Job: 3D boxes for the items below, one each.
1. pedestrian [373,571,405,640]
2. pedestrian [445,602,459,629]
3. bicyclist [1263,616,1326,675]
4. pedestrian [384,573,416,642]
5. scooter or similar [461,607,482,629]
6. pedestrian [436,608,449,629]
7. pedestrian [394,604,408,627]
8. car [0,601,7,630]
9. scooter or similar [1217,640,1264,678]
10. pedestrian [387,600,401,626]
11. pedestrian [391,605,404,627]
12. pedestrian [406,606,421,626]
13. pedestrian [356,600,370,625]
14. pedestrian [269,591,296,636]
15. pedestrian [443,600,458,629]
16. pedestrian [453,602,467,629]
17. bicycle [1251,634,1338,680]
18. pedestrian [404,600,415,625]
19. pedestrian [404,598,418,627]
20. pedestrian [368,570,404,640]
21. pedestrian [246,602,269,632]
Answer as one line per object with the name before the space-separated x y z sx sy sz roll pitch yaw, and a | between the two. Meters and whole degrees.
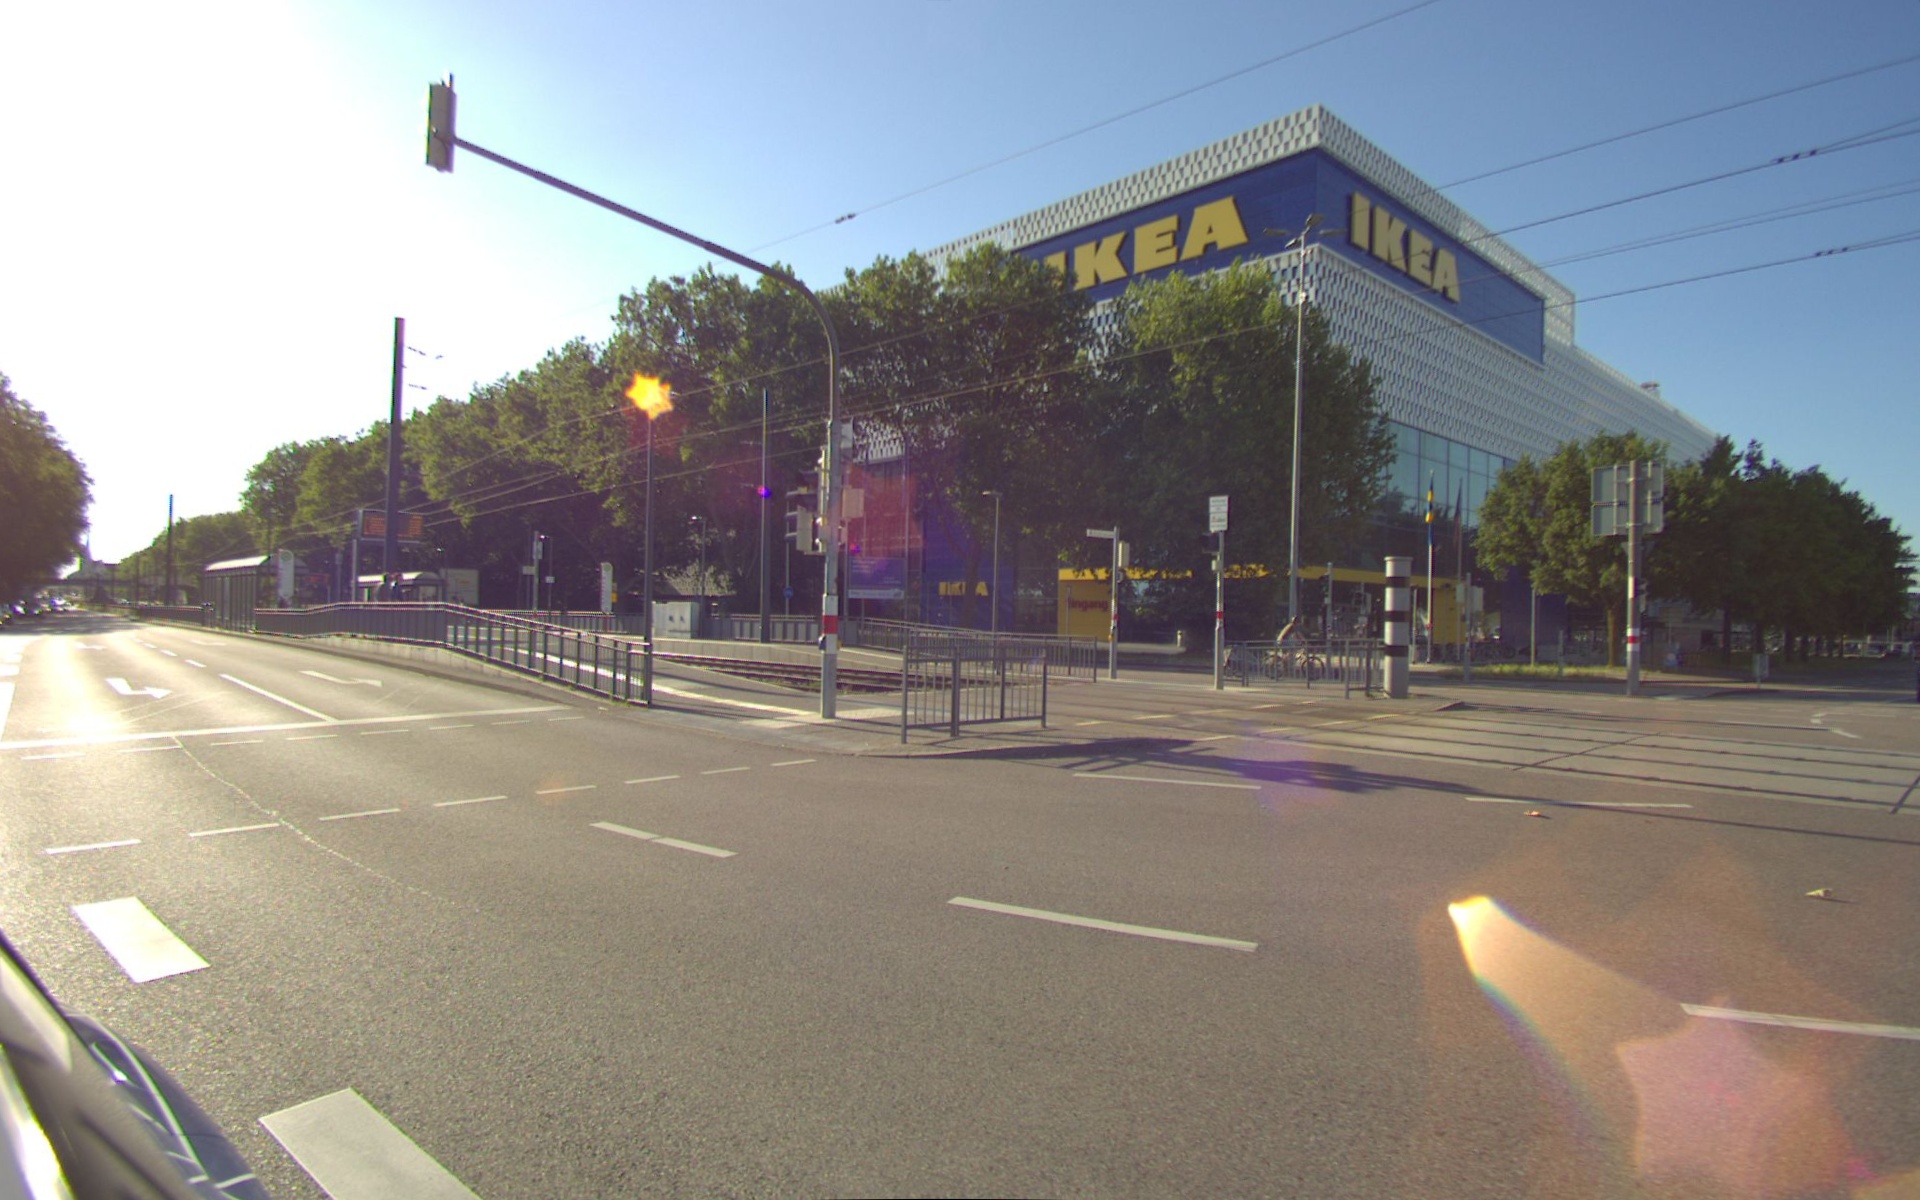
pedestrian | -14.508 0.136 25.704 0.527 1.705 0.761 -2 1 -40
pedestrian | -30.481 0.919 60.758 0.643 1.632 0.636 0 0 -39
bicyclist | 9.687 1.315 29.308 1.463 1.629 0.824 2 -1 -7
pedestrian | -13.846 0.181 25.031 0.527 1.669 0.752 -1 1 -41
scooter or similar | -28.059 1.013 58.135 0.656 1.244 1.373 1 -1 -43
pedestrian | -31.545 1.114 61.667 0.594 1.233 0.618 0 0 -39
pedestrian | -37.480 1.039 67.865 0.576 1.503 0.663 0 -1 34
car | -49.255 0.796 50.831 1.844 1.441 3.836 -2 0 -41
scooter or similar | 8.056 1.692 29.083 1.050 1.023 0.790 2 -1 -7
pedestrian | -35.907 0.813 64.198 0.652 1.645 0.778 -1 0 -41
pedestrian | -37.951 1.057 68.287 0.544 1.479 0.608 -1 -1 39
pedestrian | -35.210 1.024 65.223 0.686 1.262 0.645 -1 0 45
pedestrian | -42.471 0.903 71.986 0.752 1.723 0.679 -1 1 -42
pedestrian | -26.419 0.502 39.460 0.822 1.729 0.686 -1 0 43
pedestrian | -30.795 0.860 61.153 0.643 1.732 0.636 0 0 -39
pedestrian | -29.539 0.909 59.828 0.594 1.632 0.692 0 0 -39
bicycle | 9.683 1.650 29.309 2.243 1.227 0.716 2 -1 -7
pedestrian | -35.767 0.817 65.722 0.567 1.648 0.645 1 -1 -34
pedestrian | -34.709 0.789 63.949 0.644 1.755 0.686 -1 0 -40
pedestrian | -14.909 0.111 26.294 0.697 1.788 0.536 -2 1 -38
pedestrian | -29.352 0.695 42.296 0.672 1.241 0.879 -1 0 -42
